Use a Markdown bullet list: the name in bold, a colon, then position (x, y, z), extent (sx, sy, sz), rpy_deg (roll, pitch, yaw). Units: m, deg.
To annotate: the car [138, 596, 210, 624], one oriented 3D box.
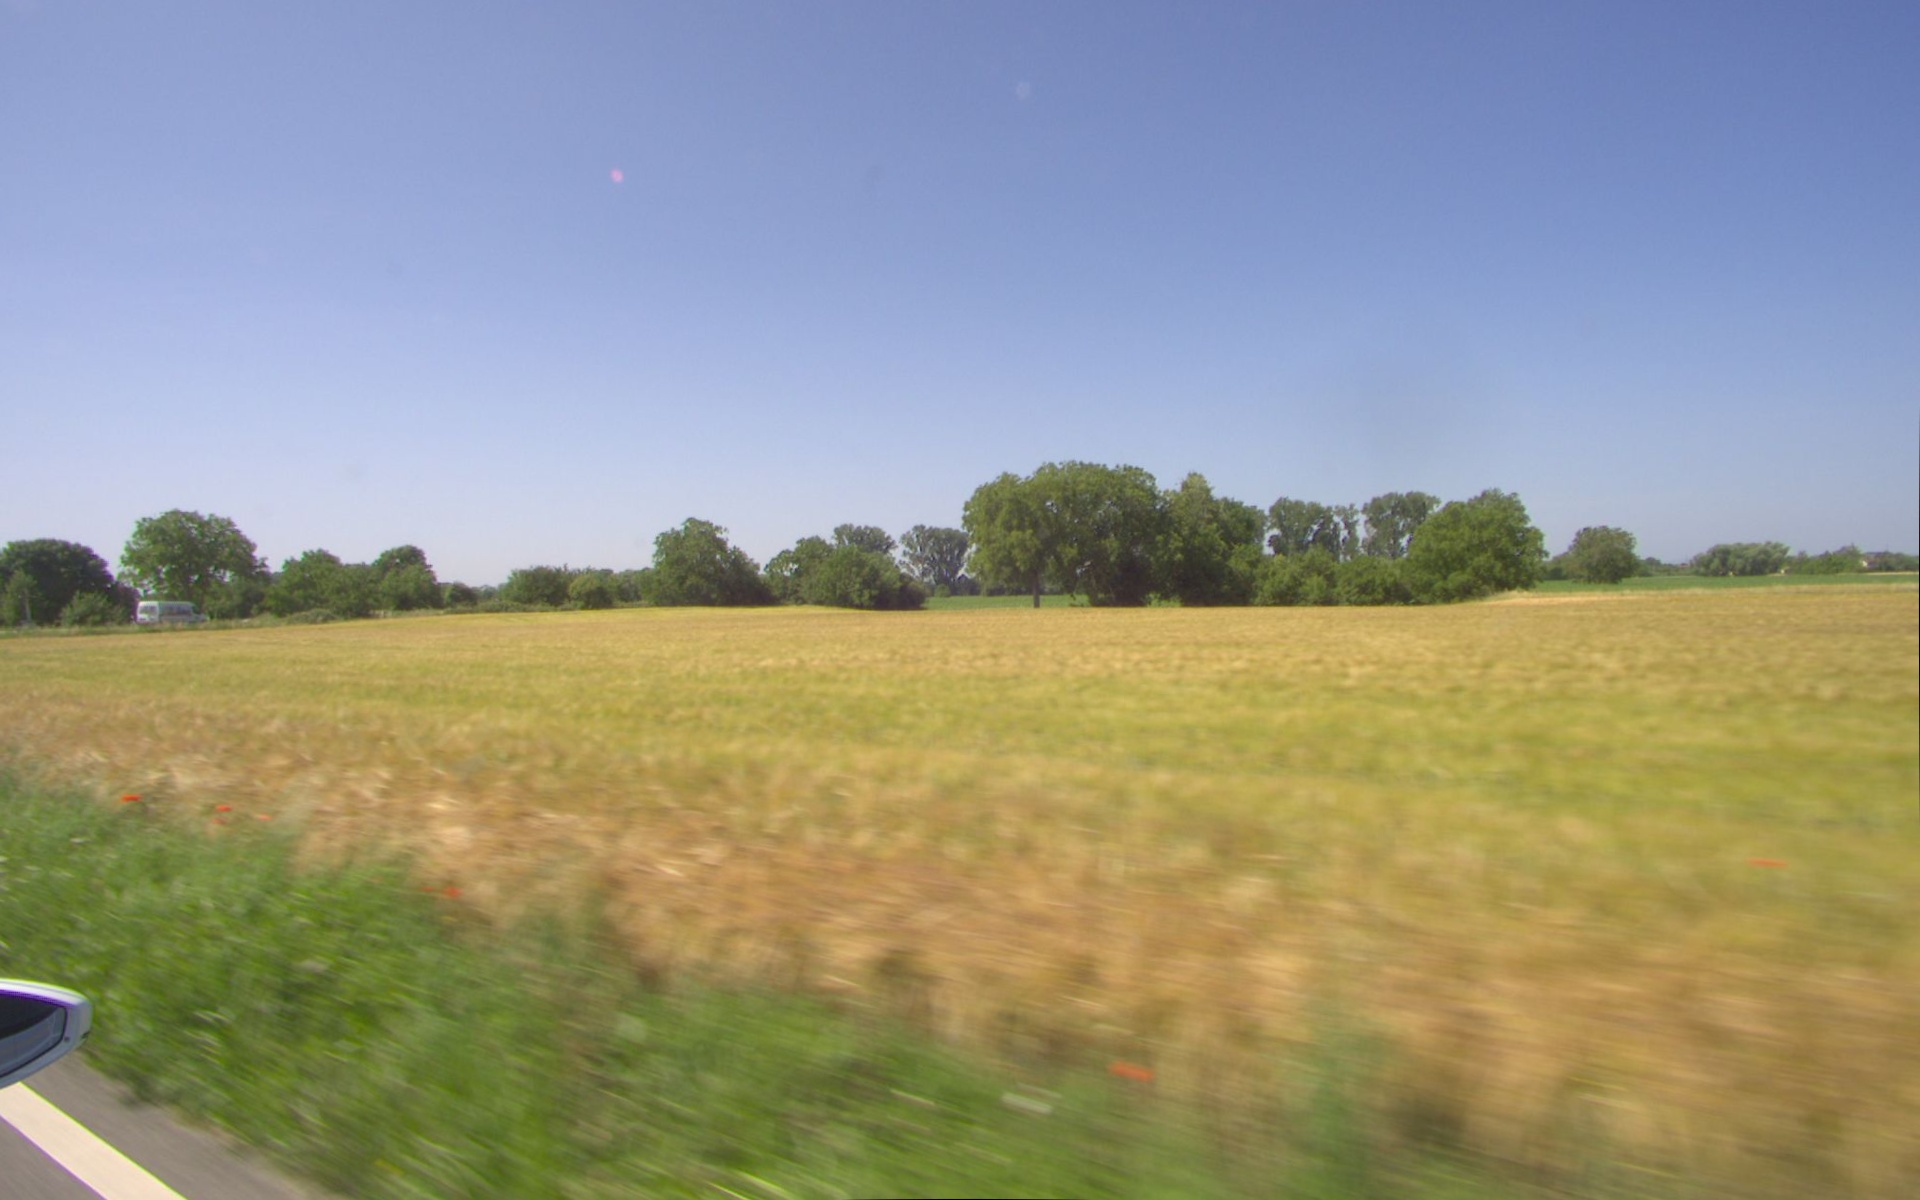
- **car**: position (-71.926, 0.903, 91.765), extent (2.070, 2.399, 5.684), rpy_deg (-1, 1, 0)
